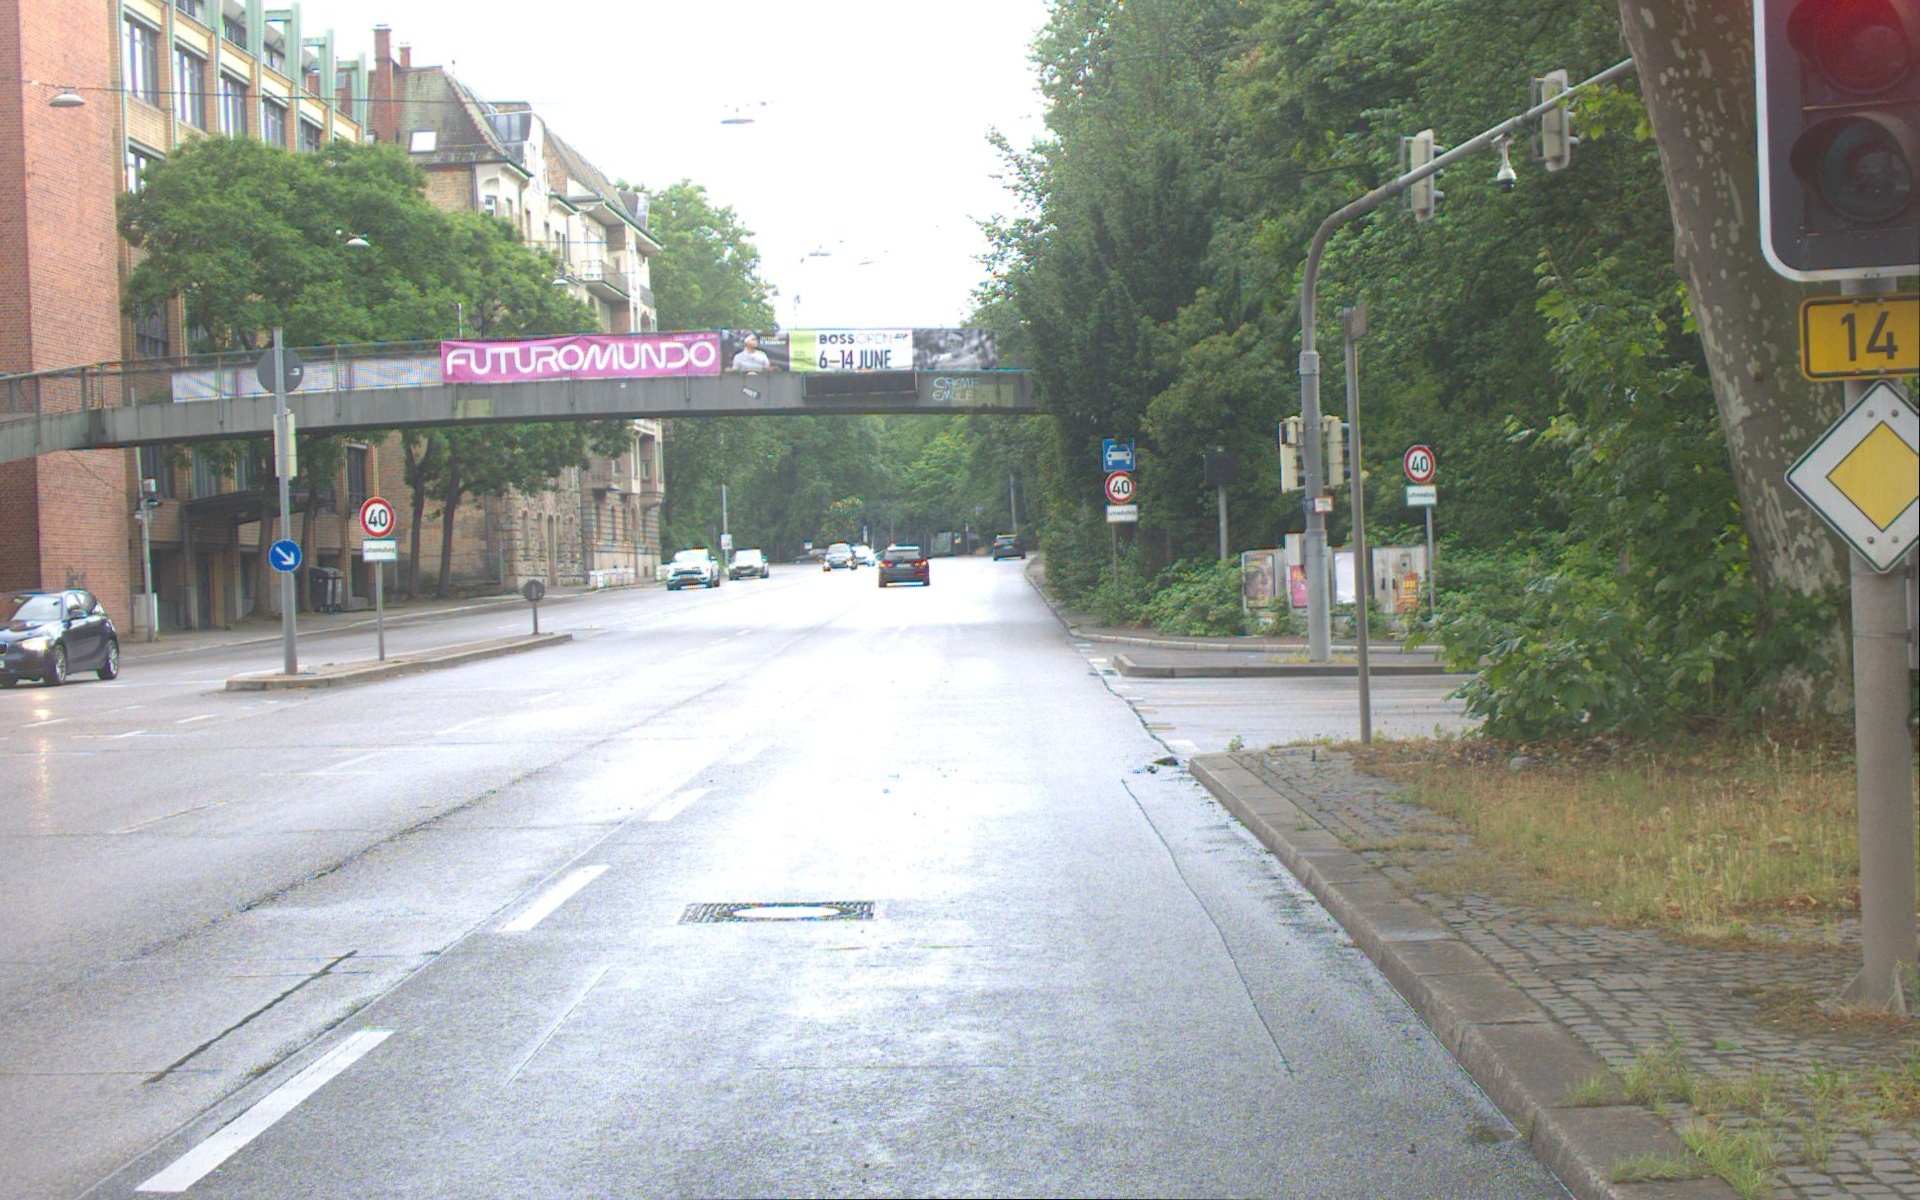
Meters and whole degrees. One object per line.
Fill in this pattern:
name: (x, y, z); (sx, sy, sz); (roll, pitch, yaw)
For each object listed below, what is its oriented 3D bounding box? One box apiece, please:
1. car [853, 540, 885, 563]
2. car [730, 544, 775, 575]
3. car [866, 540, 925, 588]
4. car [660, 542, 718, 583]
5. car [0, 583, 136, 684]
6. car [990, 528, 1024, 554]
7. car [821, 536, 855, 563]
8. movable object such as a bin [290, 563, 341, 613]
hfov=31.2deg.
car: (-5.850, -3.098, 221.080); (1.830, 1.389, 4.405); (-3, 0, 1)
car: (-10.155, -1.988, 168.532); (1.709, 1.459, 4.041); (-2, 0, 3)
car: (-2.316, -1.276, 122.074); (2.004, 1.638, 4.376); (-2, 1, -2)
car: (-11.221, -1.553, 142.511); (1.890, 1.604, 4.456); (-1, 1, 2)
car: (-13.702, 0.496, 50.981); (1.686, 1.414, 4.214); (-2, 0, 4)
car: (2.652, -3.329, 194.306); (1.842, 1.448, 3.777); (1, 1, -1)
car: (-6.723, -2.763, 189.720); (1.683, 1.431, 3.862); (-2, 0, 0)
movable object such as a bin: (-20.086, -0.372, 107.127); (1.282, 1.513, 1.273); (-1, 1, 1)
